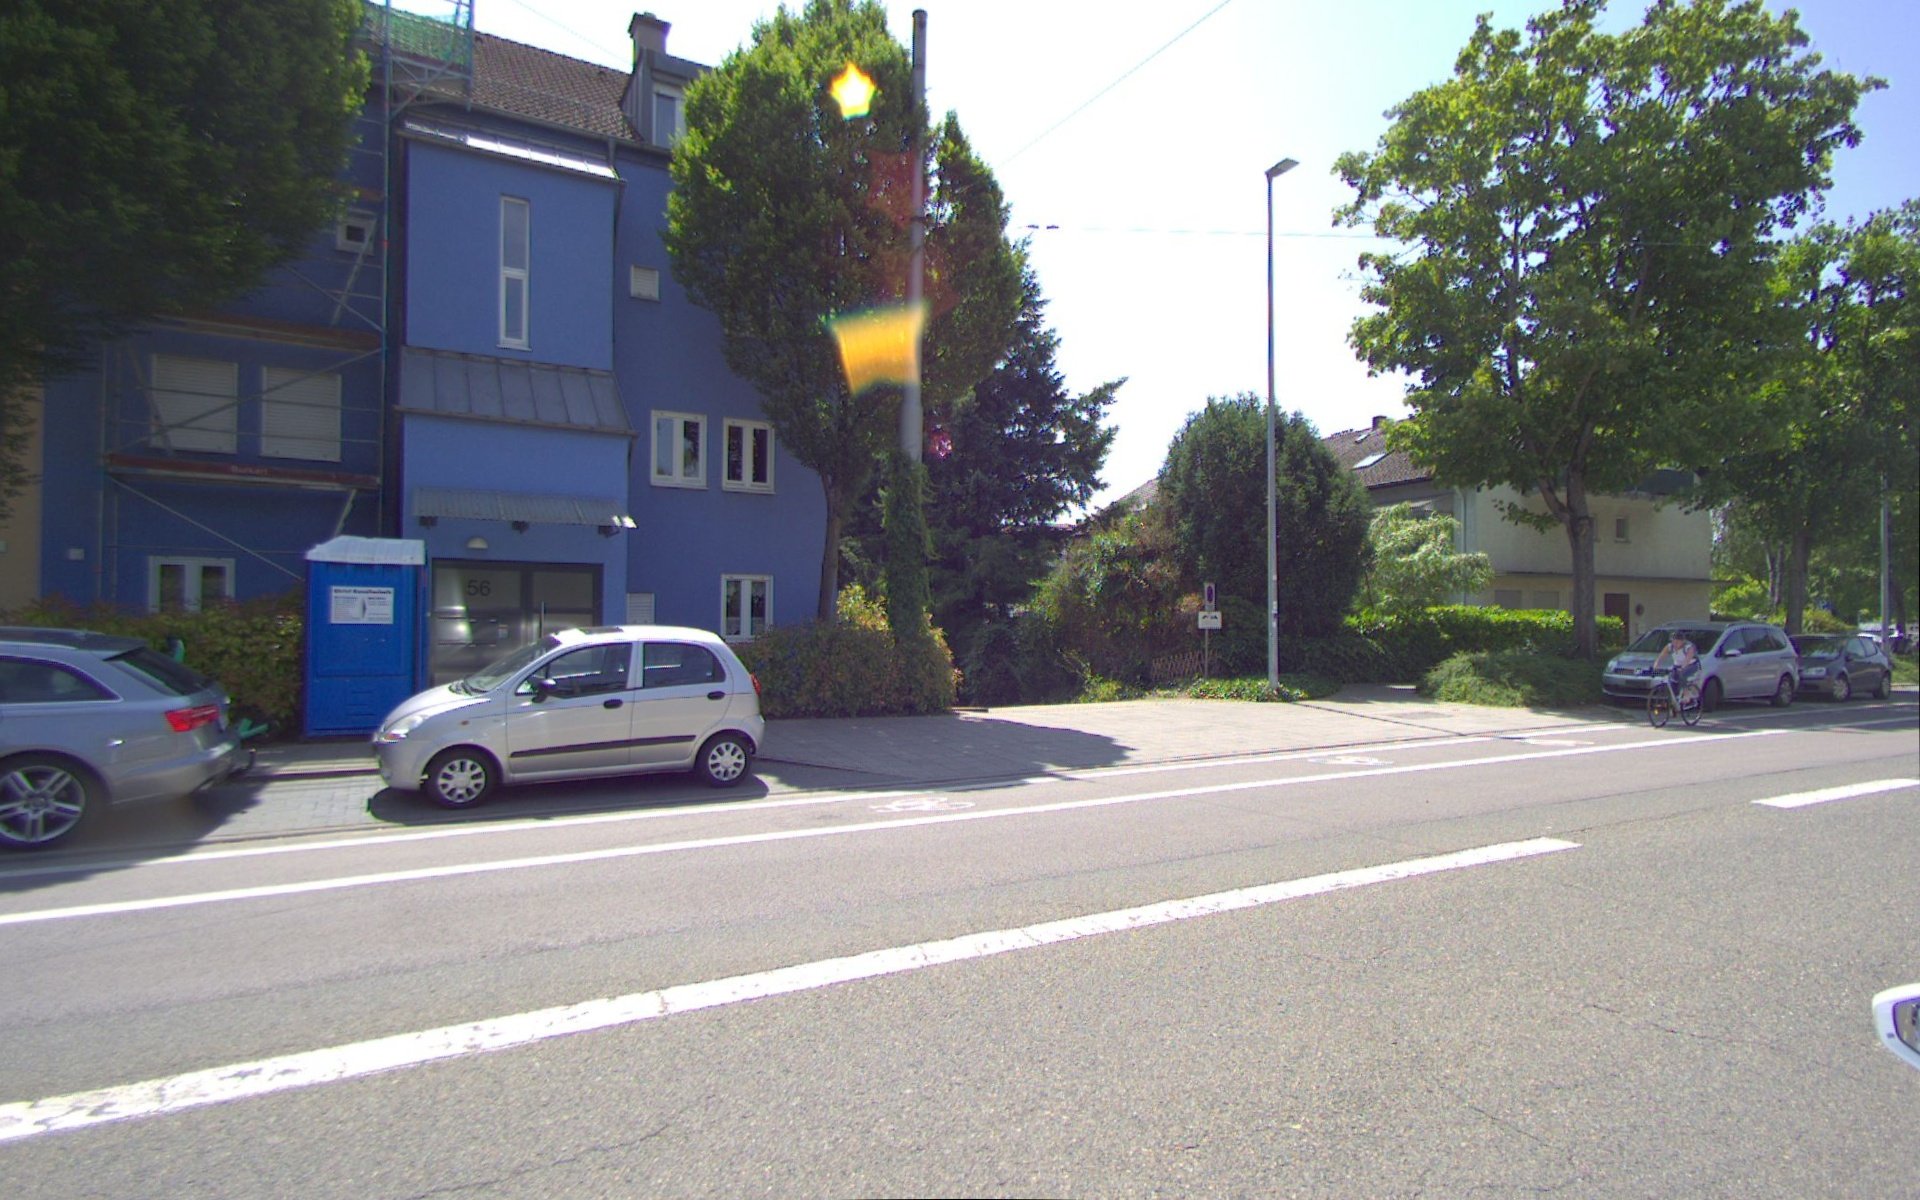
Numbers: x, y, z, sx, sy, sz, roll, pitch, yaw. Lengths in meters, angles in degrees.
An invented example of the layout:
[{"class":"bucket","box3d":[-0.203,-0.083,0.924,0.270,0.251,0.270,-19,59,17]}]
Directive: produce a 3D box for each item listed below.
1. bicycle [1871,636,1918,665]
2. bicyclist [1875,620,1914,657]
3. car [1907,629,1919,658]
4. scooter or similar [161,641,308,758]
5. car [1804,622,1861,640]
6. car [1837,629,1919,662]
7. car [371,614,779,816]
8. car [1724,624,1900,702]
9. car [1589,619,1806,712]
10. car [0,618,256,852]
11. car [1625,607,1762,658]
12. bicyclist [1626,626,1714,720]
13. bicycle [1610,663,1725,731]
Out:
[{"class":"bicycle","box3d":[35.674,1.927,38.347,1.805,1.043,0.698,2,0,-27]},{"class":"bicyclist","box3d":[35.702,1.466,38.380,0.817,1.392,0.806,2,0,-27]},{"class":"car","box3d":[55.447,2.418,55.347,1.885,1.606,4.334,1,-2,-23]},{"class":"scooter or similar","box3d":[-7.533,1.008,10.478,1.168,1.160,0.452,1,-1,-28]},{"class":"car","box3d":[89.778,3.190,103.423,1.794,1.638,4.004,2,0,-28]},{"class":"car","box3d":[48.495,2.341,51.962,1.891,1.606,4.321,1,-2,-31]},{"class":"car","box3d":[-3.660,0.973,9.668,3.408,1.516,1.585,1,4,-30]},{"class":"car","box3d":[19.584,1.397,23.049,4.132,1.585,1.810,1,0,-30]},{"class":"car","box3d":[15.049,1.243,20.442,4.724,1.687,1.864,1,-1,-30]},{"class":"car","box3d":[-8.058,0.932,6.950,5.074,1.470,1.777,0,3,-31]},{"class":"car","box3d":[47.936,2.065,65.866,2.337,3.005,6.817,2,0,-30]},{"class":"bicyclist","box3d":[11.398,1.165,16.127,1.113,1.449,0.731,1,-4,-33]},{"class":"bicycle","box3d":[11.358,1.518,16.092,2.219,0.963,0.698,0,-3,-33]}]
